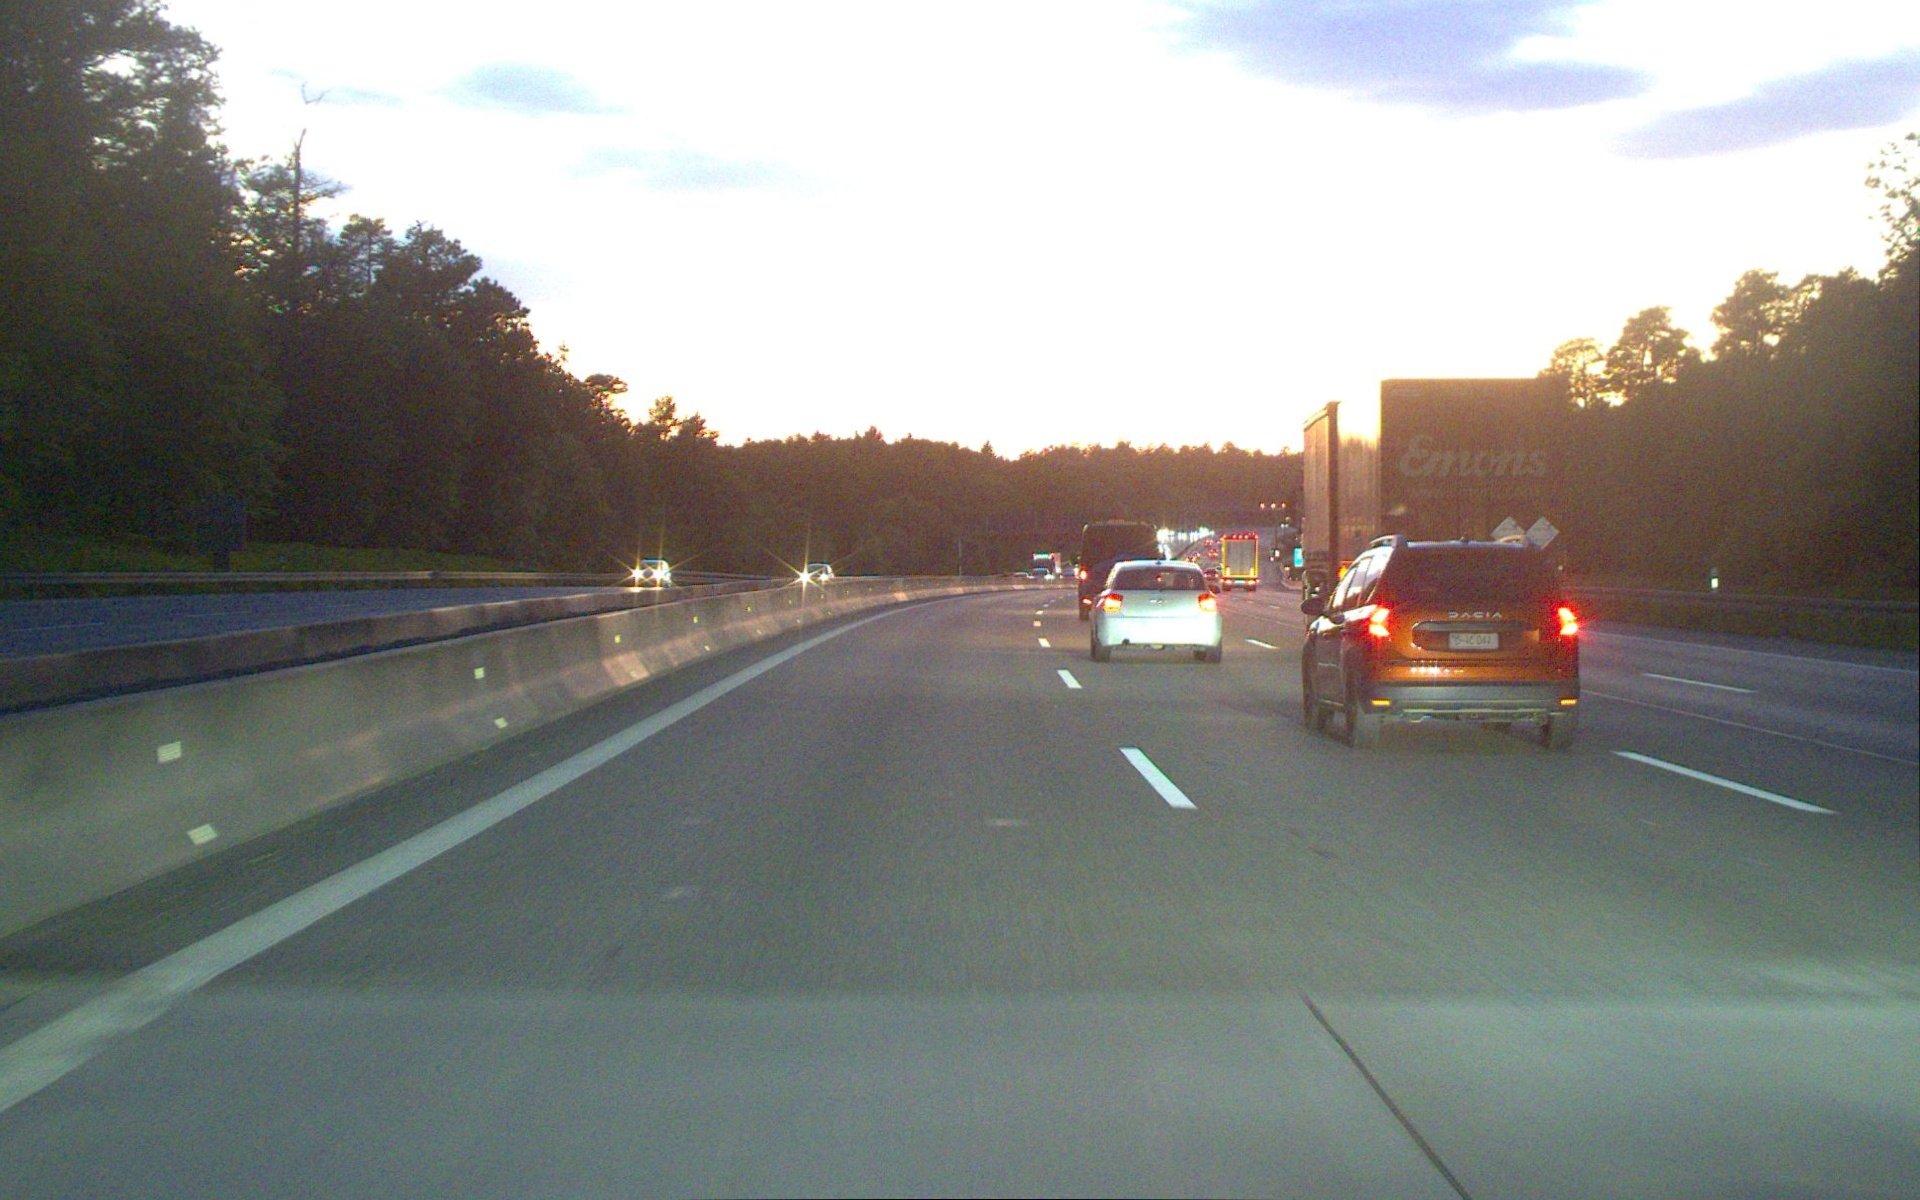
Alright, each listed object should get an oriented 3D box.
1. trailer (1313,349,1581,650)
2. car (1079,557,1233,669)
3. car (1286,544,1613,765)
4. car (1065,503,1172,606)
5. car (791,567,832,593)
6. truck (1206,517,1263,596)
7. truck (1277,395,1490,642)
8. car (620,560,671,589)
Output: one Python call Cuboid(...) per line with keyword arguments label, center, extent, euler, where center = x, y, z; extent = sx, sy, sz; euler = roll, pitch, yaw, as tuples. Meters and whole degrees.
Cuboid(label="trailer", center=(7.177, -1.386, 52.077), extent=(2.907, 4.086, 10.357), euler=(1, 0, 2))
Cuboid(label="car", center=(2.741, 0.153, 48.788), extent=(1.859, 1.437, 3.721), euler=(0, 2, -2))
Cuboid(label="car", center=(3.884, 0.367, 28.109), extent=(1.903, 1.638, 5.052), euler=(0, 1, 0))
Cuboid(label="car", center=(3.869, -1.079, 83.238), extent=(2.166, 2.410, 5.562), euler=(0, 0, 7))
Cuboid(label="car", center=(-8.840, -1.217, 205.144), extent=(1.842, 1.458, 4.775), euler=(2, 1, 4))
Cuboid(label="truck", center=(21.093, -3.266, 263.184), extent=(4.150, 5.836, 14.293), euler=(0, 0, 5))
Cuboid(label="truck", center=(7.551, -1.378, 62.724), extent=(2.885, 4.086, 10.831), euler=(1, 0, 2))
Cuboid(label="car", center=(-17.256, -1.411, 188.917), extent=(1.843, 1.458, 3.999), euler=(2, 1, 9))
